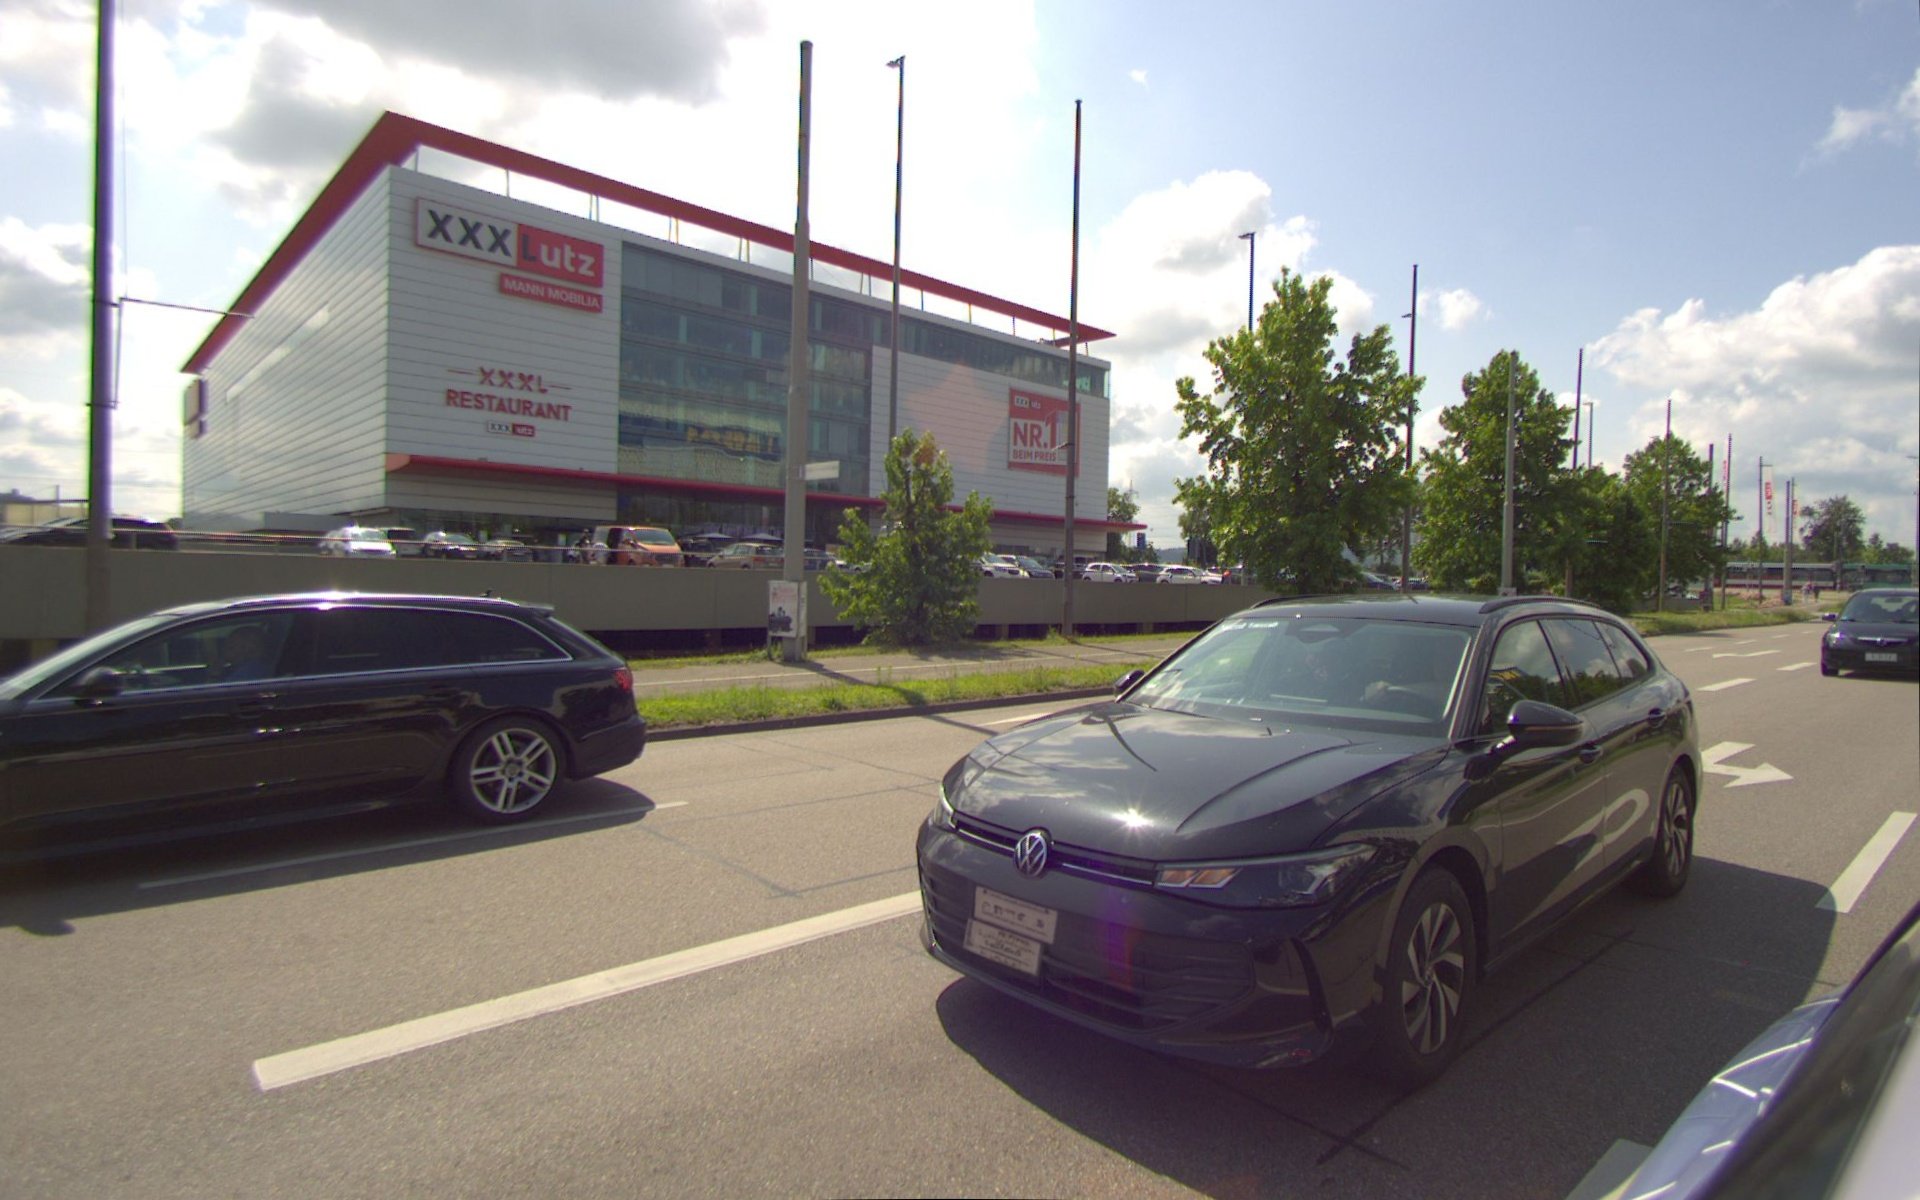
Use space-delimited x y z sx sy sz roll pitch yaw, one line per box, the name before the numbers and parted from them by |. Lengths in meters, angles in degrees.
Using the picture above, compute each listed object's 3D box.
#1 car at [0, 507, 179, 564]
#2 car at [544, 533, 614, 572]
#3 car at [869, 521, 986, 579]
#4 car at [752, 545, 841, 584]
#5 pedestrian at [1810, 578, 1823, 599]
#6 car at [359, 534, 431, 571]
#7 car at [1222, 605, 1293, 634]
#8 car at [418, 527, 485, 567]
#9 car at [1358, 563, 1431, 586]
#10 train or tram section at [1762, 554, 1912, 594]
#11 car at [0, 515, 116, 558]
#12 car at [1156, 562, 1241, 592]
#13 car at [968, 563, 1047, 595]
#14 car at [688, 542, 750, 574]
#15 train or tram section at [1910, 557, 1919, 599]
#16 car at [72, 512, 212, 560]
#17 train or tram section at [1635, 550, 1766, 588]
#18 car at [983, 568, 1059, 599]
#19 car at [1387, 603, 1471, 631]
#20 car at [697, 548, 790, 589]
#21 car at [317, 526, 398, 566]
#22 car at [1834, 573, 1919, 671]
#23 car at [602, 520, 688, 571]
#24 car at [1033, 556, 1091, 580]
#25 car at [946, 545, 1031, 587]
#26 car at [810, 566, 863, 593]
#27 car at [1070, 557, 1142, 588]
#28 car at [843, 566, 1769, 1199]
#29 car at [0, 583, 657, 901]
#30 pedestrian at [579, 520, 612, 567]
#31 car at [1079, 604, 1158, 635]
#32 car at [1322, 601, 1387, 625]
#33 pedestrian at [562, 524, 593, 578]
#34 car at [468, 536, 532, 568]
car | -28.175 -2.019 32.751 1.948 1.625 4.356 1 1 42
car | -18.520 -2.271 49.118 1.884 1.772 3.992 -1 1 -42
car | -1.521 -2.150 44.896 1.721 2.312 5.783 -1 1 -44
car | -7.266 -1.511 44.631 1.920 1.625 4.417 -1 1 -40
pedestrian | 76.140 -1.057 89.975 0.697 1.836 0.541 -1 0 25
car | -26.623 -2.181 47.649 1.923 1.625 4.412 -1 1 -44
car | 19.949 1.293 67.945 1.534 1.786 4.411 -1 1 -44
car | -24.484 -2.502 48.692 1.884 1.772 3.992 -1 1 -42
car | 30.940 -1.798 72.148 1.921 1.625 4.415 -1 1 -42
train or tram section | 103.745 -3.190 119.992 3.670 4.424 13.080 -1 3 -43
car | -38.695 -2.661 42.888 1.949 1.625 4.352 1 1 45
car | 13.456 -1.278 57.334 1.921 1.625 4.415 -1 1 -42
car | 2.424 -1.100 53.093 1.917 1.625 4.425 -1 1 -33
car | -14.177 -2.426 59.368 1.884 1.772 3.992 -1 1 -42
train or tram section | 112.743 -2.515 110.386 3.670 4.731 13.076 -1 1 -43
car | -34.395 -2.649 42.639 1.948 1.808 4.356 1 1 42
train or tram section | 94.713 -3.868 129.697 3.670 4.618 13.076 -1 1 -43
car | 3.285 -0.913 55.286 1.917 1.625 4.425 -1 1 -33
car | 29.408 1.022 63.570 1.921 1.625 4.415 -1 1 -42
car | -9.198 -1.300 42.793 1.921 1.625 4.415 -1 1 -42
car | -25.090 -2.185 42.077 1.923 1.489 4.412 -1 1 -44
car | 16.644 0.343 17.652 4.196 1.549 1.605 0 1 -42
car | -12.194 -2.056 38.993 1.881 1.772 4.187 -1 1 -36
car | 7.216 -2.231 72.051 1.916 1.625 4.428 -1 1 -30
car | 1.271 -1.548 46.452 1.719 1.816 3.994 -1 1 -40
car | -7.878 -1.290 64.233 1.915 1.625 4.430 0 1 -27
car | 8.951 -1.655 62.263 1.534 1.786 4.411 -1 1 -44
car | 2.072 0.627 4.689 5.115 1.496 1.811 -1 1 -42
car | -4.373 0.649 6.068 4.597 1.496 1.777 -1 1 -41
pedestrian | -13.959 -2.140 38.738 1.014 1.764 0.698 -1 0 36
car | 9.104 1.094 58.407 1.919 1.625 4.419 -1 1 -38
car | 30.259 0.971 77.624 1.534 1.786 4.411 -1 1 -44
pedestrian | -14.849 -1.897 39.277 0.895 2.039 0.706 -1 0 4
car | -23.002 -2.350 50.518 1.534 1.489 4.412 -1 1 -44
